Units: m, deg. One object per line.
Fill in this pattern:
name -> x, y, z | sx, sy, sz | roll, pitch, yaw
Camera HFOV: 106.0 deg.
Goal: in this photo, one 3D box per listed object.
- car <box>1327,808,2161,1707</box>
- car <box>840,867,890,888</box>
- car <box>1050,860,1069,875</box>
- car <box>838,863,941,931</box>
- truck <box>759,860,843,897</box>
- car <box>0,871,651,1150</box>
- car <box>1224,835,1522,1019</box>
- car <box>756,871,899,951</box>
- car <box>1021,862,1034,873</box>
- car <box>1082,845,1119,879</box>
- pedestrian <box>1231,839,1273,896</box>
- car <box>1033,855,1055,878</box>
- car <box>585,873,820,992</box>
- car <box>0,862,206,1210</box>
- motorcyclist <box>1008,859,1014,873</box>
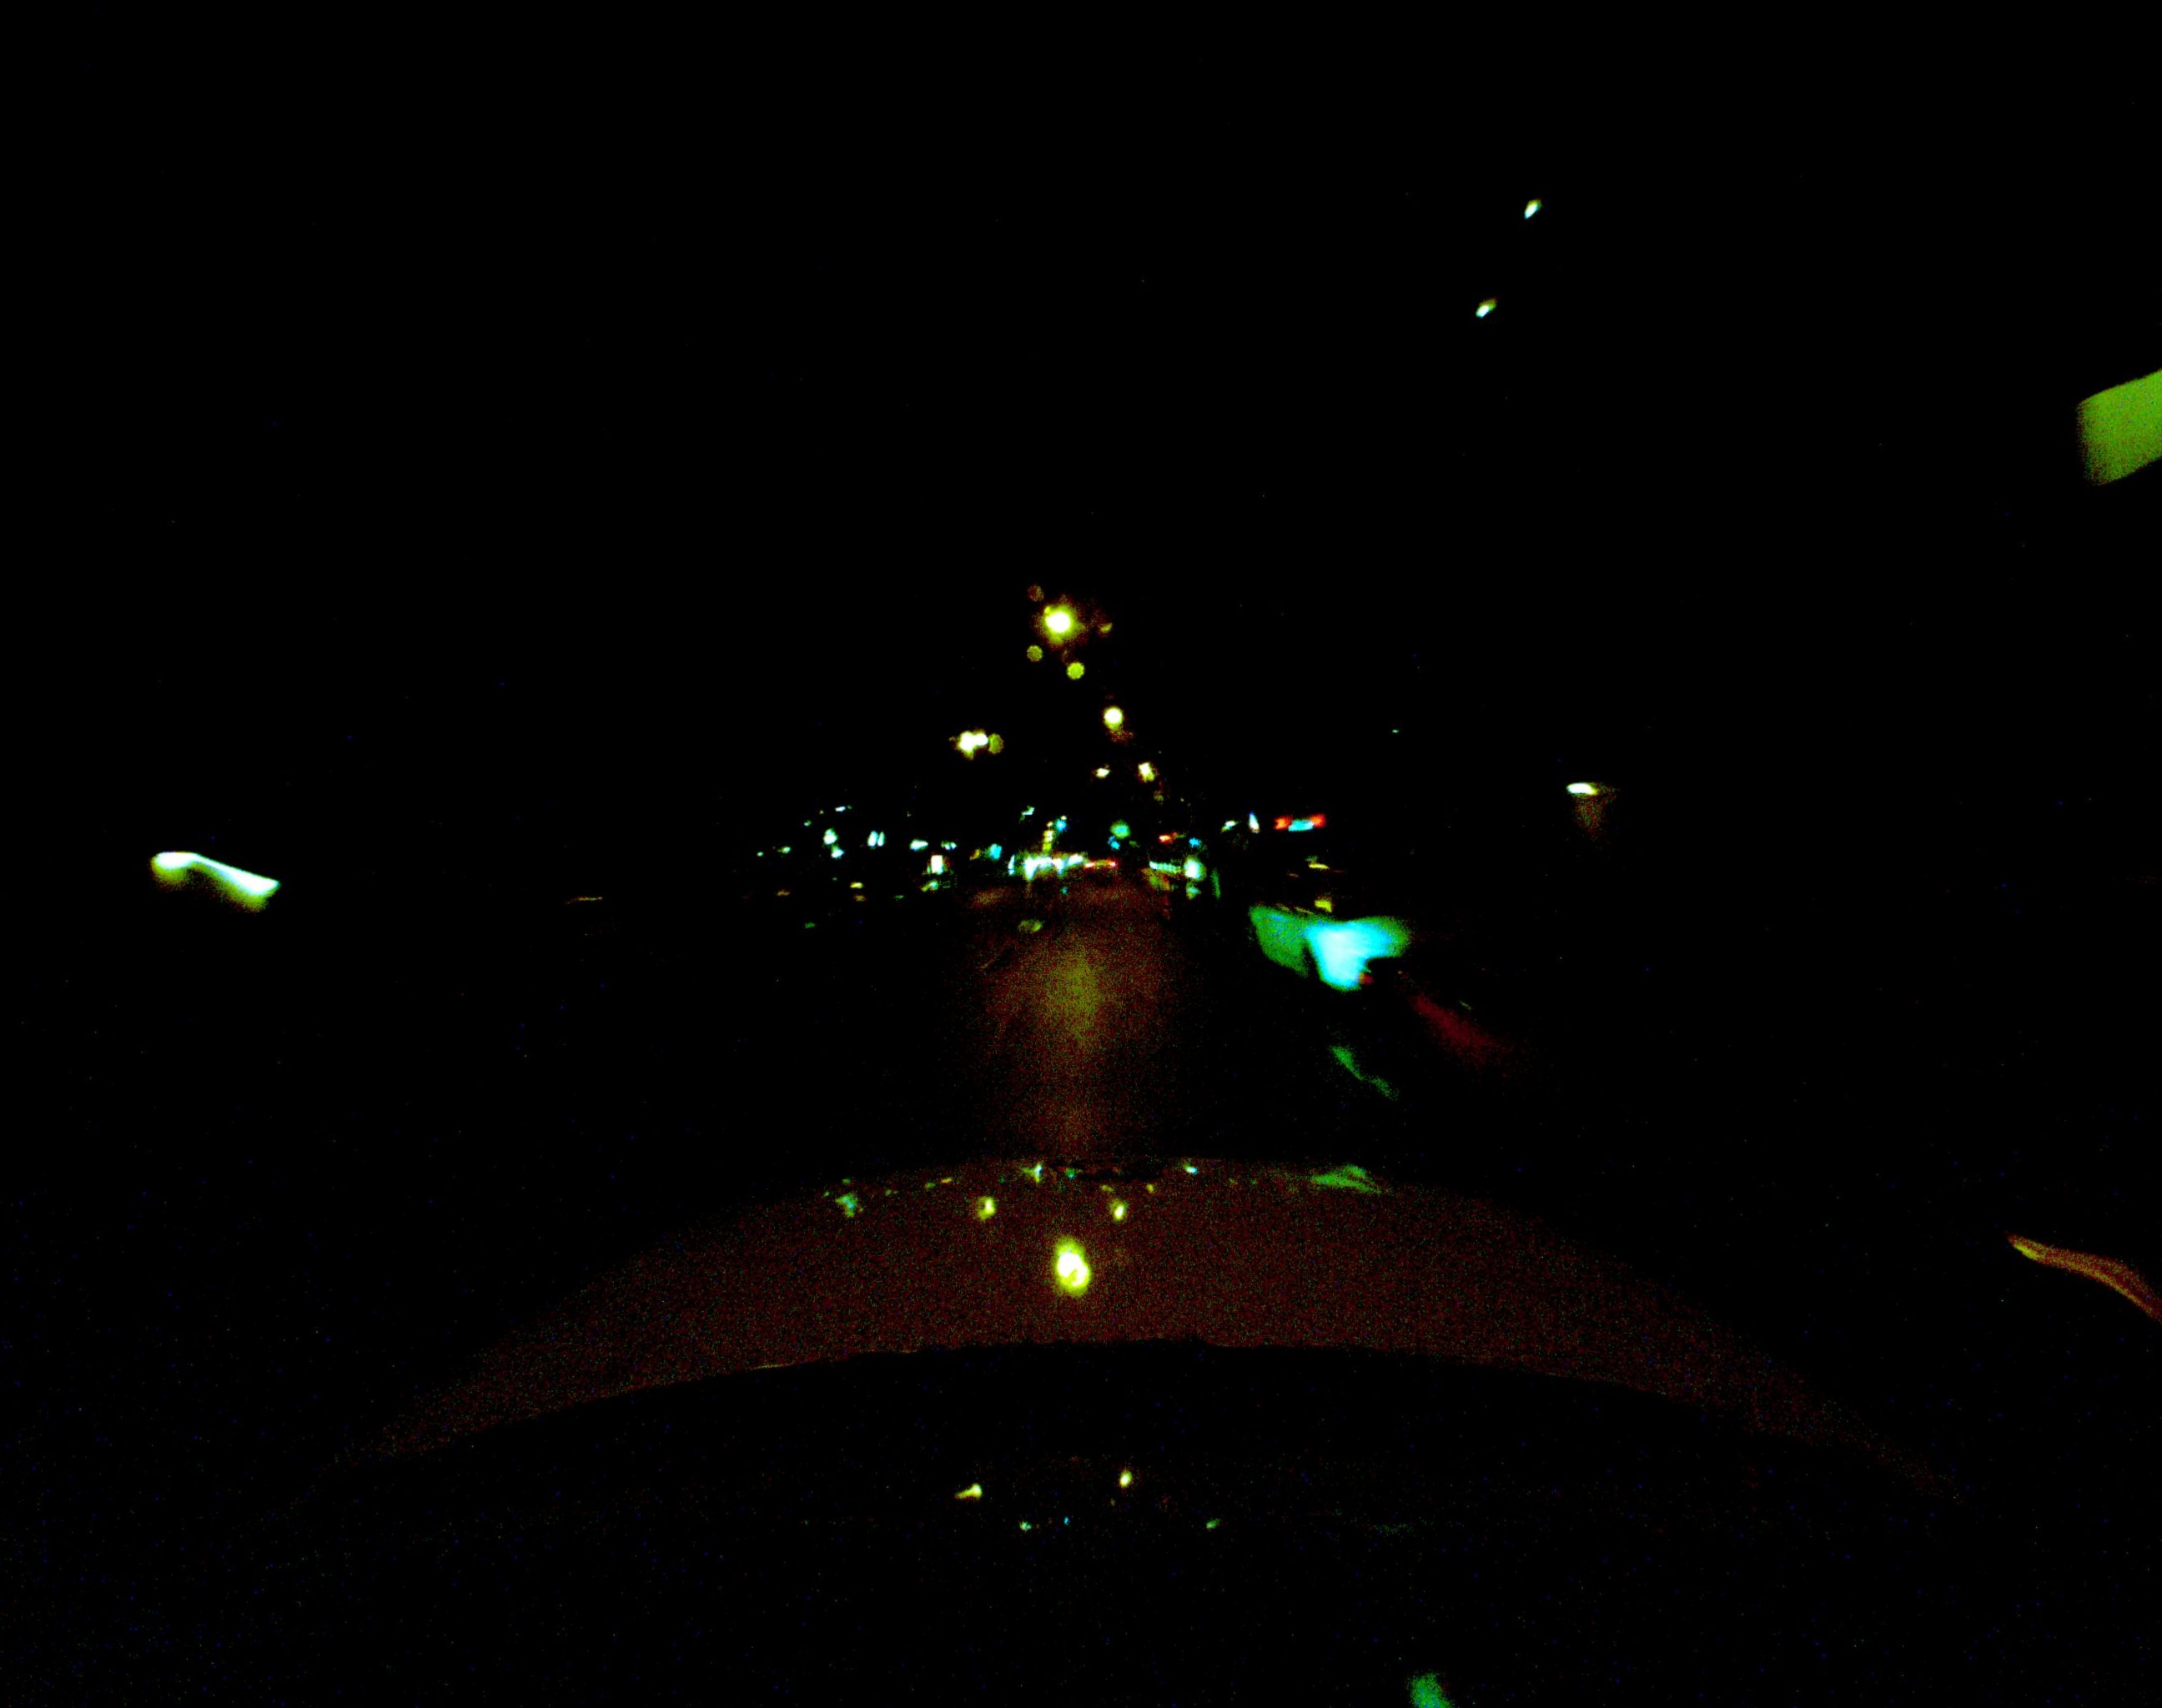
car -> 2.639, 0.630, 3.457 | 1.816, 1.422, 4.489 | -4, -1, 1
car -> -16.773, 1.831, 63.456 | 1.699, 1.431, 3.939 | -3, -1, 21
car -> -2.388, 1.487, 91.300 | 1.815, 1.542, 4.718 | -3, -1, -4
car -> -5.275, 1.127, 23.059 | 1.592, 1.564, 4.381 | -6, -1, 2
truck -> -17.775, 1.522, 52.024 | 2.105, 2.013, 5.288 | -3, 0, 19
car -> -5.795, 1.000, 7.083 | 1.592, 1.486, 4.276 | -6, -1, 2
car -> 3.040, 0.676, 9.700 | 1.816, 1.530, 4.783 | -4, -1, 1
car -> -5.545, 1.184, 18.411 | 1.592, 1.373, 4.355 | -6, -1, 2
car -> -8.137, 2.026, 122.796 | 1.849, 1.499, 4.761 | -3, 0, -5
car -> 1.253, 0.470, 52.186 | 2.160, 1.972, 4.303 | -3, 0, 1
pedestrian -> 4.961, 0.396, 23.694 | 1.044, 1.575, 1.020 | -2, -1, 6
car -> -3.660, 1.198, 81.091 | 2.029, 1.953, 5.196 | -5, 0, -2
car -> -5.707, 1.097, 12.901 | 1.592, 1.373, 4.069 | -6, -1, 2
car -> -5.893, 0.910, 2.500 | 1.592, 1.605, 4.260 | -6, -1, 2
motorcyclist -> -10.383, 1.752, 120.694 | 0.690, 2.013, 0.983 | -3, 0, 3
